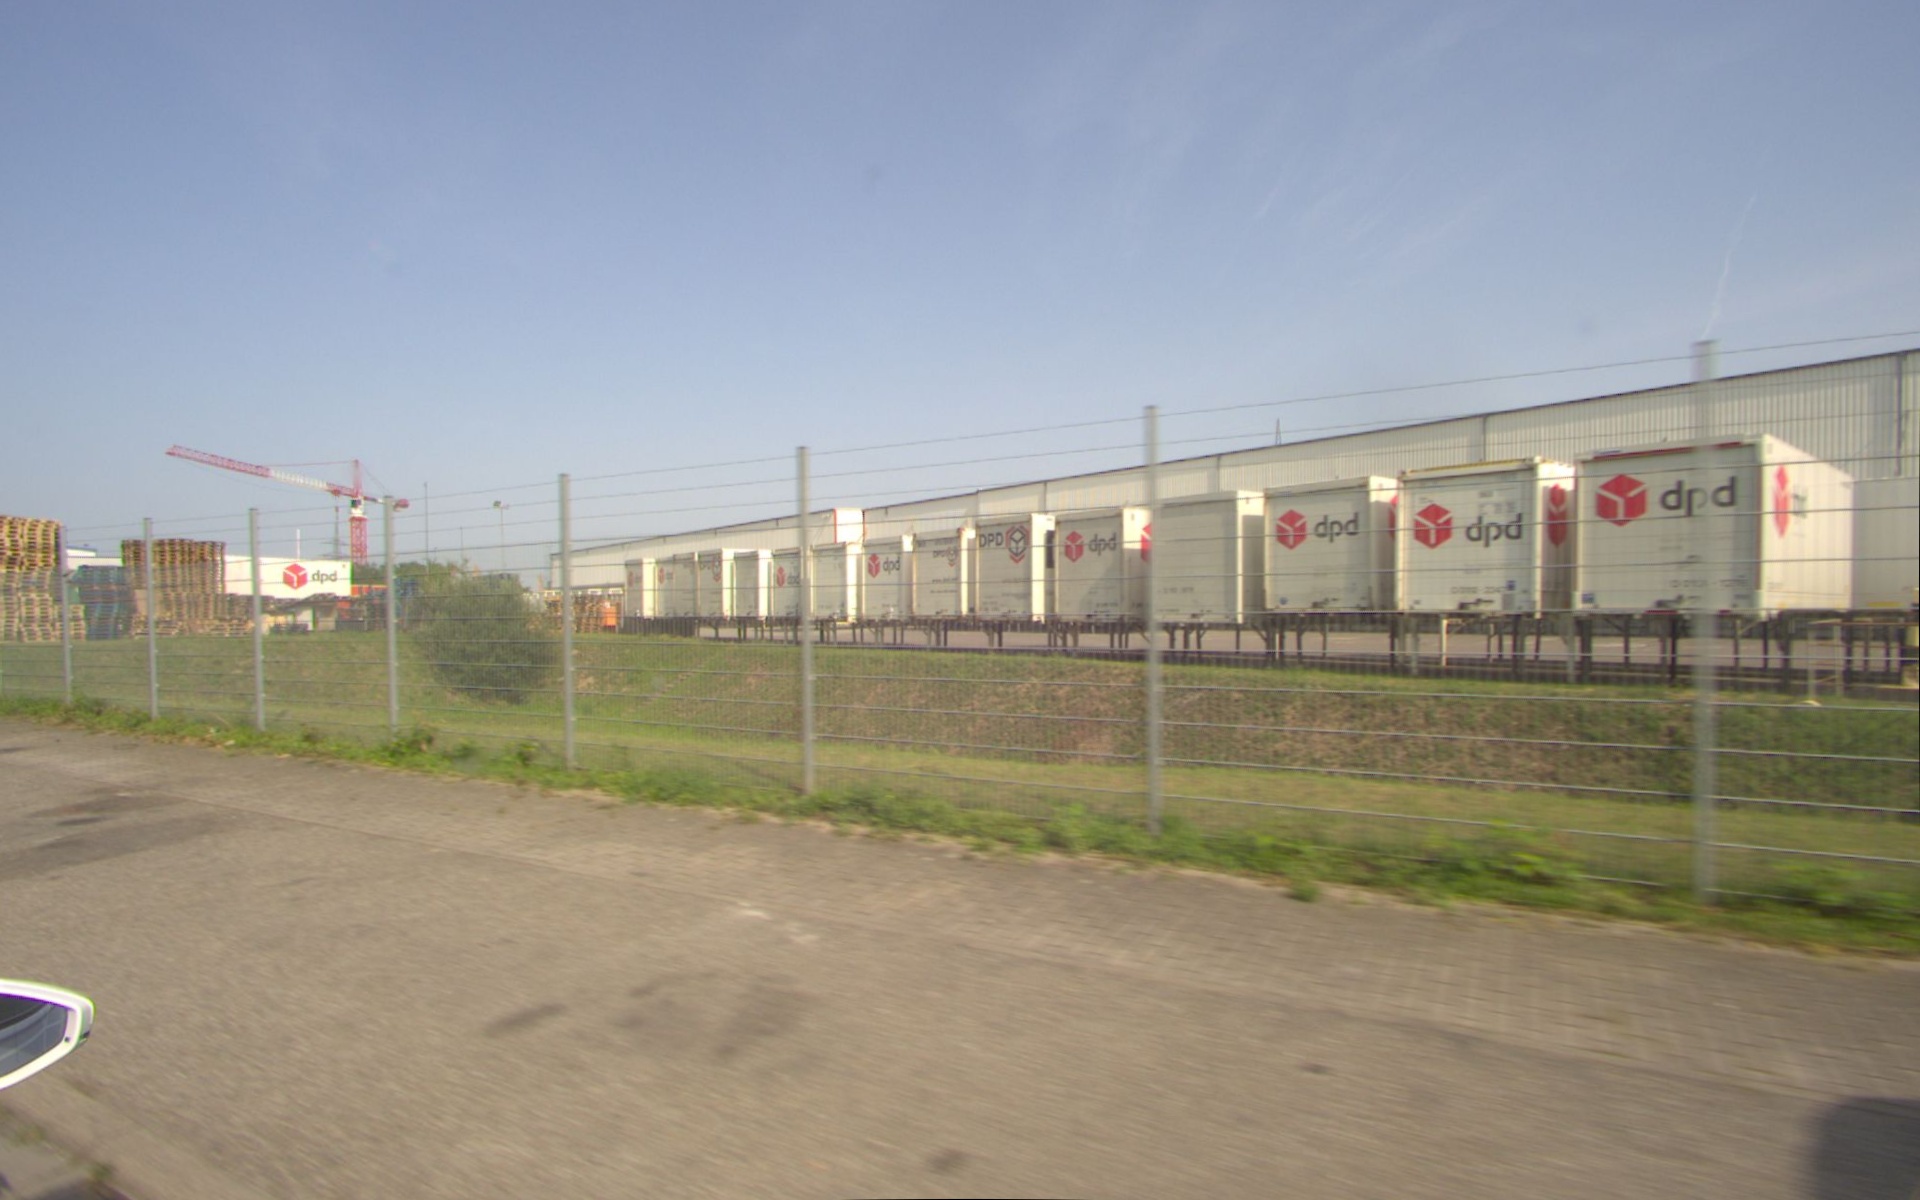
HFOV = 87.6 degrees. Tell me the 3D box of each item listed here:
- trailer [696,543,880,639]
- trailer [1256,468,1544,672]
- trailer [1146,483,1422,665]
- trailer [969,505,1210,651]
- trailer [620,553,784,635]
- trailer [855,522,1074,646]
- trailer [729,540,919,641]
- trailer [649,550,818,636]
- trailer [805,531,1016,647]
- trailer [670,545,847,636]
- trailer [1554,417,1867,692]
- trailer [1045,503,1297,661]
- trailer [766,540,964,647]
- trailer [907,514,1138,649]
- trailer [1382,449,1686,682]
[{"bbox_3d":[-7.697,-0.276,45.544,7.905,3.944,2.751,2,-1,-41],"label":"trailer"},{"bbox_3d":[10.386,-0.454,23.098,8.247,3.944,2.751,2,-1,-41],"label":"trailer"},{"bbox_3d":[8.454,-0.427,25.443,8.247,3.944,2.751,2,-1,-41],"label":"trailer"},{"bbox_3d":[4.171,-0.470,30.835,7.905,3.944,2.751,2,-1,-41],"label":"trailer"},{"bbox_3d":[-13.390,-0.216,52.465,7.905,3.944,2.718,2,-1,-41],"label":"trailer"},{"bbox_3d":[0.337,-0.401,35.695,7.905,3.944,2.751,2,-1,-41],"label":"trailer"},{"bbox_3d":[-5.749,-0.283,43.454,7.905,3.944,2.751,2,-1,-41],"label":"trailer"},{"bbox_3d":[-11.285,-0.244,50.513,7.905,3.944,2.718,2,-1,-41],"label":"trailer"},{"bbox_3d":[-1.724,-0.252,37.885,7.905,3.944,2.751,2,-1,-41],"label":"trailer"},{"bbox_3d":[-9.476,-0.325,47.787,7.905,3.944,2.751,2,-1,-41],"label":"trailer"},{"bbox_3d":[13.883,-0.517,18.158,8.474,3.944,2.751,2,-1,-41],"label":"trailer"},{"bbox_3d":[6.254,-0.327,28.731,7.975,3.944,2.751,2,-1,-41],"label":"trailer"},{"bbox_3d":[-3.756,-0.129,41.038,7.905,3.944,2.751,2,-1,-41],"label":"trailer"},{"bbox_3d":[2.238,-0.428,33.120,7.905,3.944,2.751,2,-1,-41],"label":"trailer"},{"bbox_3d":[12.142,-0.447,20.721,8.474,3.944,2.751,2,-1,-41],"label":"trailer"}]
